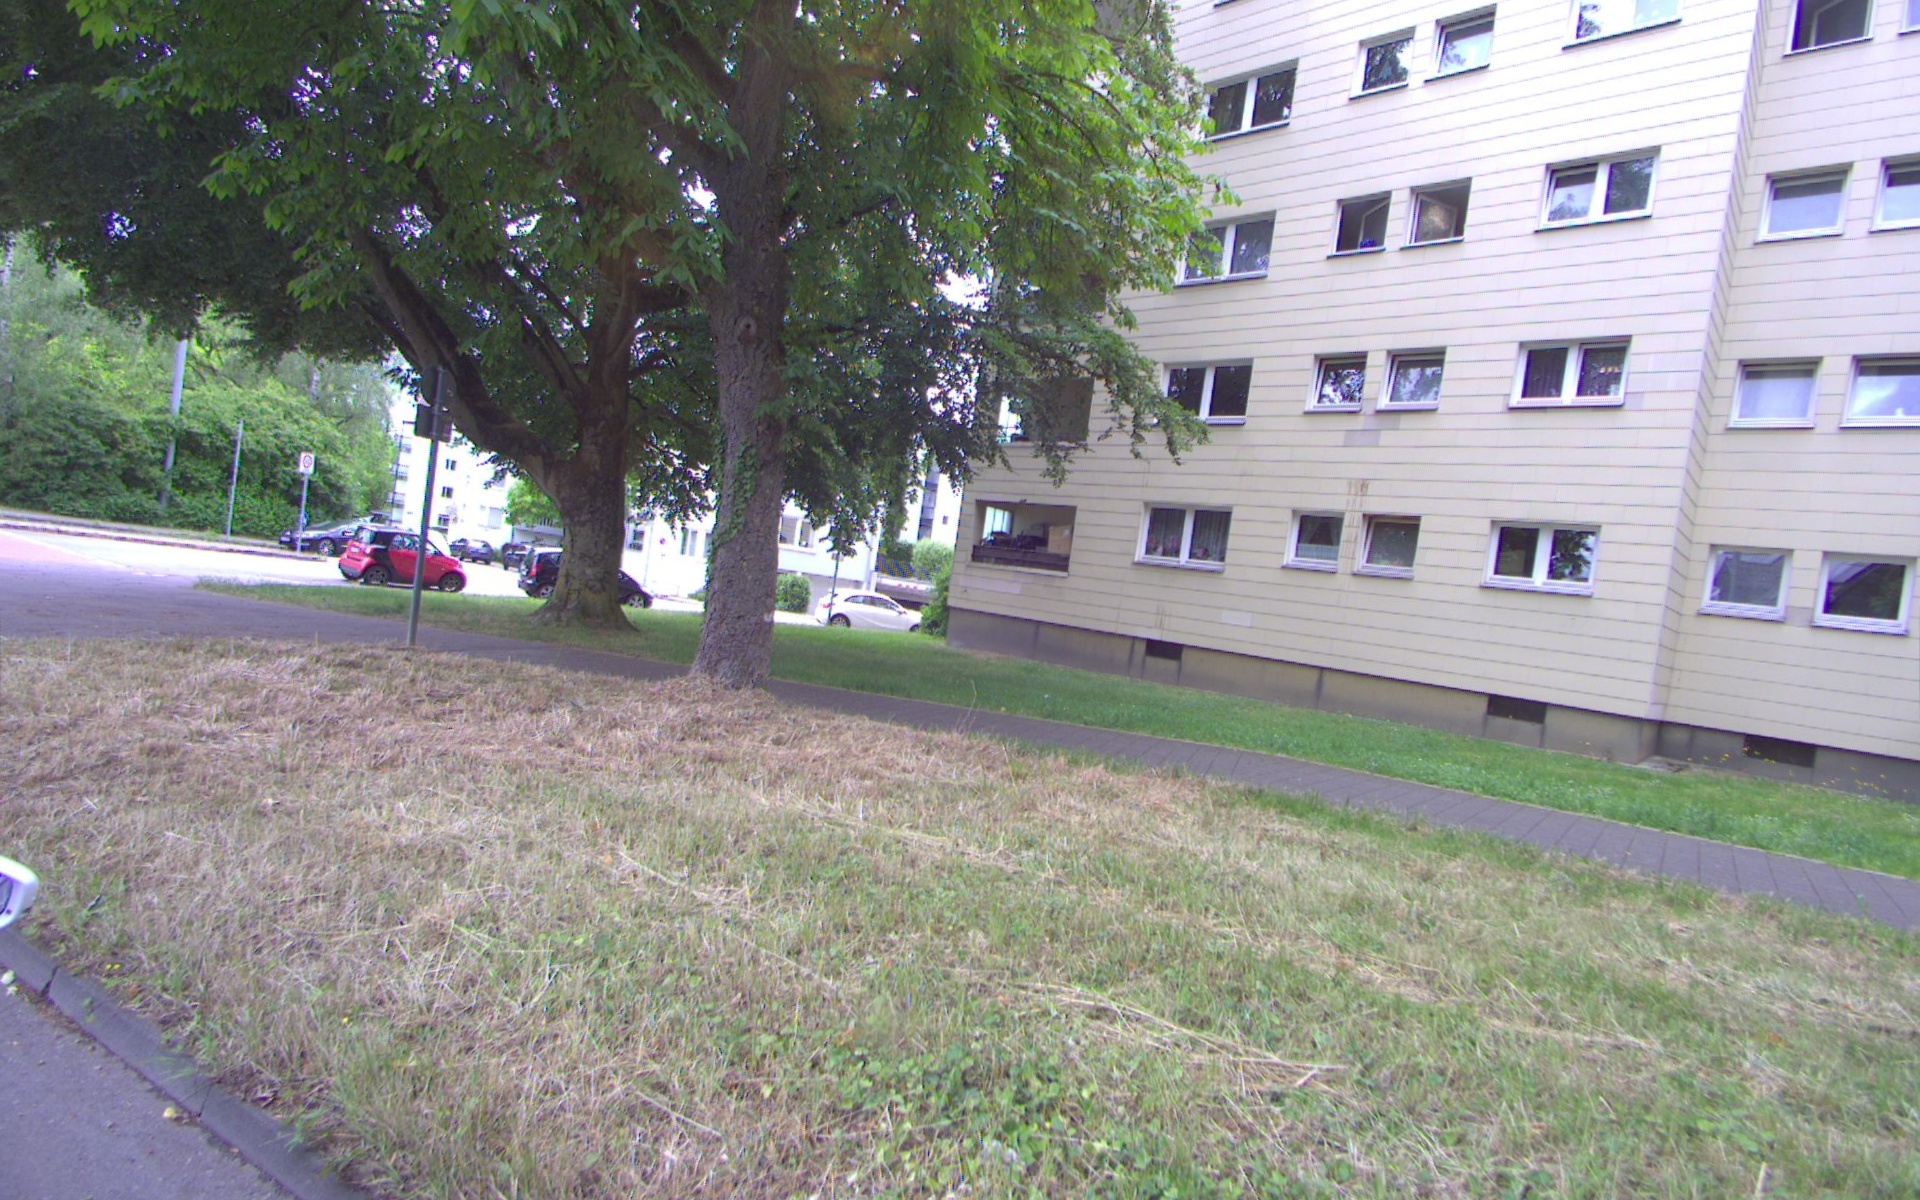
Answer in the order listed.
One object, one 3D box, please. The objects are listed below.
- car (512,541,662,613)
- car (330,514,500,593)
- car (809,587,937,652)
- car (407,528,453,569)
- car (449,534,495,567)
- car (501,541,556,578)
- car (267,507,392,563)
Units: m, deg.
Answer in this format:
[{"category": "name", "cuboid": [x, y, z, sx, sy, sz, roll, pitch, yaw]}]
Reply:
[{"category": "car", "cuboid": [-11.066, -0.672, 29.924, 3.814, 1.631, 1.713, 7, 1, -33]}, {"category": "car", "cuboid": [-14.536, -1.205, 26.950, 1.702, 1.631, 3.516, 8, 1, 37]}, {"category": "car", "cuboid": [-2.894, 0.635, 33.313, 3.796, 1.631, 1.721, 7, 1, -18]}, {"category": "car", "cuboid": [-24.887, -2.441, 47.184, 1.709, 1.631, 3.823, 6, 1, -30]}, {"category": "car", "cuboid": [-30.123, -3.073, 62.025, 1.713, 1.631, 3.813, 6, 1, -38]}, {"category": "car", "cuboid": [-23.197, -2.198, 54.072, 1.713, 1.631, 3.813, 6, 1, -38]}, {"category": "car", "cuboid": [-23.411, -2.404, 37.433, 1.702, 1.549, 3.515, 8, 1, 38]}]
